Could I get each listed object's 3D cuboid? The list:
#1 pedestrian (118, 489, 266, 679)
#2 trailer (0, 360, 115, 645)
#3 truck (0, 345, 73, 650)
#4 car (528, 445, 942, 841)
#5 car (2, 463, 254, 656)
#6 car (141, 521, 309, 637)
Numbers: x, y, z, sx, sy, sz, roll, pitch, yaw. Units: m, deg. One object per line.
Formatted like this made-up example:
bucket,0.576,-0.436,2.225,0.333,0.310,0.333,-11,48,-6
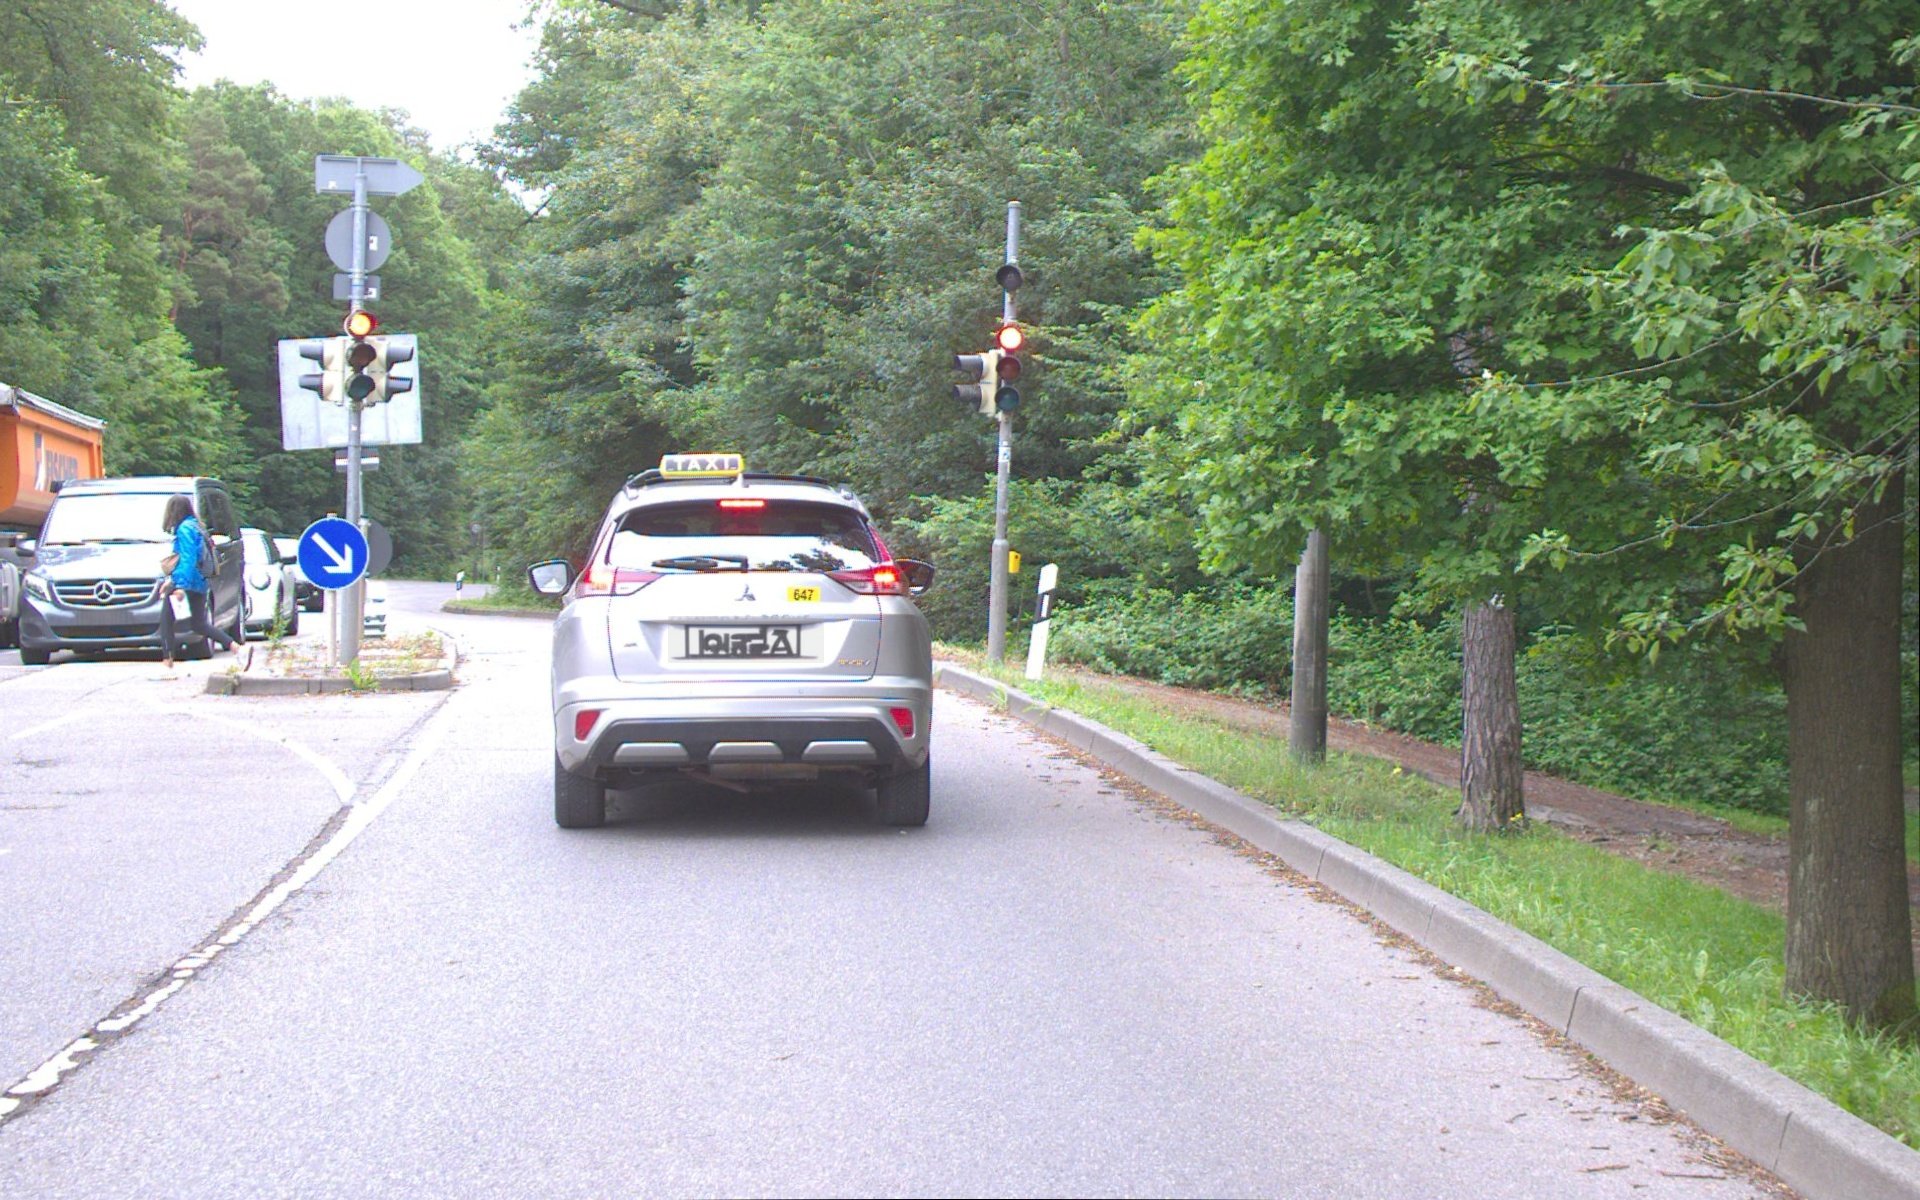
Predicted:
pedestrian,-6.792,-0.157,30.471,1.047,1.643,1.069,0,2,1
trailer,-12.696,-1.159,44.002,2.738,3.307,8.571,-1,1,-8
truck,-12.114,-1.119,39.781,2.738,3.307,7.161,-1,1,-8
car,-1.140,0.148,17.433,1.846,1.774,4.001,0,1,-4
car,-8.796,-0.449,36.742,1.993,1.887,4.840,-1,1,-6
car,-9.375,-0.299,44.075,1.612,1.316,3.722,-2,2,-5
